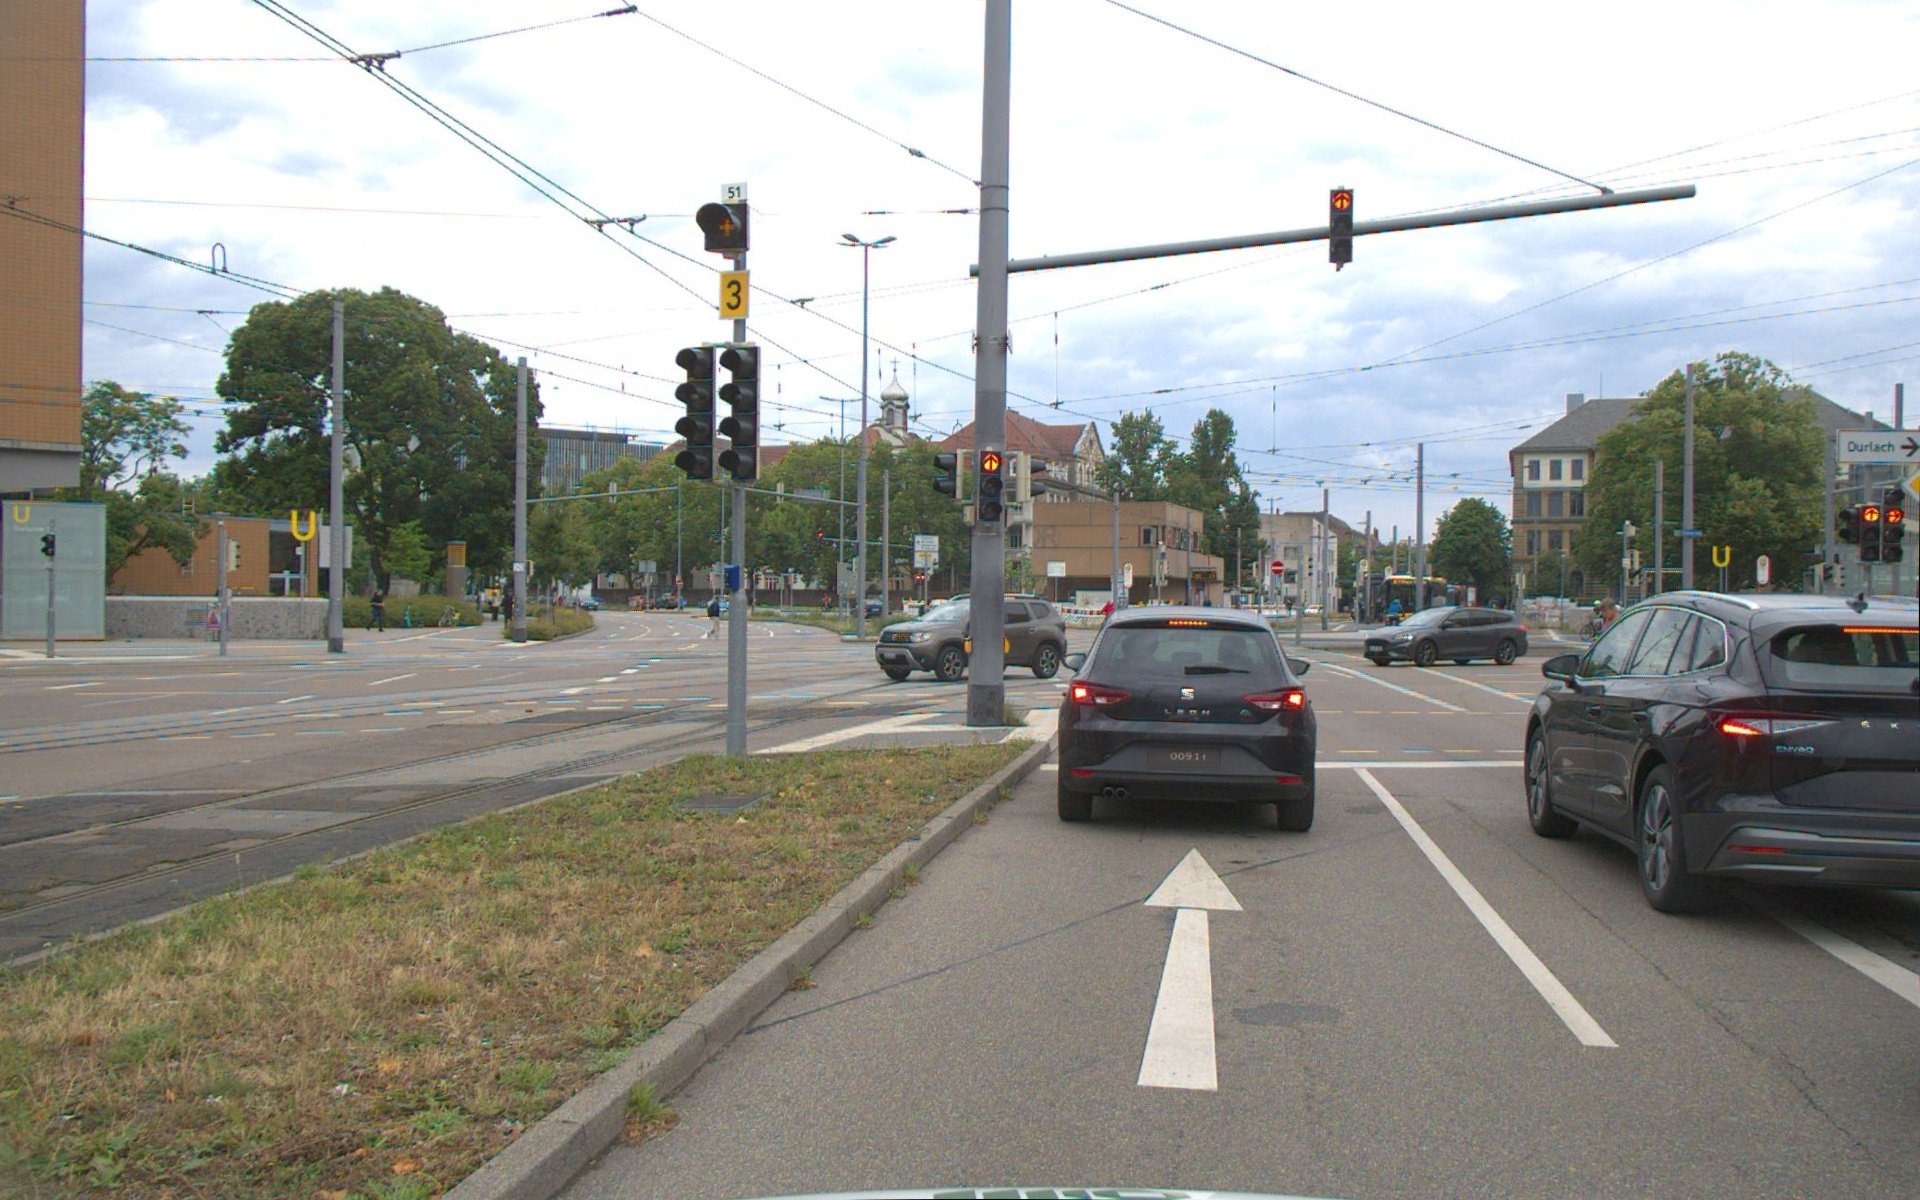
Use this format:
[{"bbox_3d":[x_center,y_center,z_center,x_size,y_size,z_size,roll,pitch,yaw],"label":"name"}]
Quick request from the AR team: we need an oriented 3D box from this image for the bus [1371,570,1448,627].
[{"bbox_3d":[26.489,-0.074,97.041,2.900,3.178,11.536,0,0,22],"label":"bus"}]

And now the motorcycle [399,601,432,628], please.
[{"bbox_3d":[-26.215,0.715,79.645,1.457,1.290,0.505,1,0,-38],"label":"motorcycle"}]

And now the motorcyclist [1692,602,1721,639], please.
[{"bbox_3d":[33.425,0.916,74.024,0.965,1.678,0.744,0,-1,-25],"label":"motorcyclist"}]

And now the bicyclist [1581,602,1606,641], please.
[{"bbox_3d":[28.421,0.962,74.240,0.838,1.702,0.652,0,0,-11],"label":"bicyclist"}]

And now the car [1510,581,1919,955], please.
[{"bbox_3d":[4.509,0.738,9.477,1.739,1.625,4.513,1,0,7],"label":"car"}]

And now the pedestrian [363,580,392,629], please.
[{"bbox_3d":[-24.632,0.192,69.976,1.002,2.049,0.844,0,0,-11],"label":"pedestrian"}]

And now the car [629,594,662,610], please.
[{"bbox_3d":[-32.093,0.182,168.766,1.763,1.489,3.947,1,1,-37],"label":"car"}]

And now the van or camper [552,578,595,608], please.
[{"bbox_3d":[-41.657,-0.771,178.071,2.373,3.179,5.424,1,0,-40],"label":"van or camper"}]

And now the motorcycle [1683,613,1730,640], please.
[{"bbox_3d":[33.384,1.182,73.988,2.107,1.159,0.738,0,0,-25],"label":"motorcycle"}]

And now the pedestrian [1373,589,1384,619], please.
[{"bbox_3d":[27.333,0.285,108.039,0.608,1.951,0.699,0,0,18],"label":"pedestrian"}]

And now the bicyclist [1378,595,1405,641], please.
[{"bbox_3d":[17.816,0.736,68.294,0.853,1.884,1.048,0,0,3],"label":"bicyclist"}]

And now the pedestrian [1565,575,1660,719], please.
[{"bbox_3d":[9.057,0.640,22.965,1.091,1.940,0.727,1,-1,-34],"label":"pedestrian"}]

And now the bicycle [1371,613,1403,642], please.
[{"bbox_3d":[17.638,1.120,68.374,0.847,1.124,2.303,1,0,4],"label":"bicycle"}]

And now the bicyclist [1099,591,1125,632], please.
[{"bbox_3d":[6.637,0.495,72.250,0.867,1.762,0.891,1,0,-13],"label":"bicyclist"}]

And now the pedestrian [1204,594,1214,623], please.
[{"bbox_3d":[16.966,0.558,112.667,0.608,1.951,0.711,0,0,11],"label":"pedestrian"}]

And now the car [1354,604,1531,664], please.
[{"bbox_3d":[12.167,0.835,41.654,4.326,1.420,1.684,0,0,-27],"label":"car"}]

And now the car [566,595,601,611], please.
[{"bbox_3d":[-35.730,0.277,156.909,1.764,1.489,3.945,1,0,-38],"label":"car"}]

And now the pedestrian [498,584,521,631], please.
[{"bbox_3d":[-19.958,0.331,73.272,0.912,2.049,1.009,1,-1,-12],"label":"pedestrian"}]

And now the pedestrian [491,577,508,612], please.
[{"bbox_3d":[-27.379,-0.314,98.304,0.784,2.016,0.873,1,-2,-26],"label":"pedestrian"}]

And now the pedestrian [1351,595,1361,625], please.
[{"bbox_3d":[25.828,0.666,107.829,0.608,1.951,0.699,0,0,18],"label":"pedestrian"}]

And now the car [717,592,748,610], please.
[{"bbox_3d":[-20.545,0.066,149.293,1.753,1.489,3.970,1,1,-24],"label":"car"}]

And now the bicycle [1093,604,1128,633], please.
[{"bbox_3d":[6.584,0.799,72.431,0.876,1.199,2.294,1,0,-13],"label":"bicycle"}]

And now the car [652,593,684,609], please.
[{"bbox_3d":[-28.709,0.068,162.541,1.759,1.489,3.956,1,1,-32],"label":"car"}]

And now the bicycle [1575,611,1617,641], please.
[{"bbox_3d":[28.541,1.161,74.260,1.699,1.345,0.643,0,0,-12],"label":"bicycle"}]

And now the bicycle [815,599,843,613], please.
[{"bbox_3d":[-11.562,0.508,145.863,0.924,1.199,2.718,0,0,36],"label":"bicycle"}]

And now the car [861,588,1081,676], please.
[{"bbox_3d":[0.255,0.618,33.194,4.180,1.668,1.782,1,0,-35],"label":"car"}]

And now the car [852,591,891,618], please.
[{"bbox_3d":[-5.902,0.347,110.404,1.959,1.713,3.986,1,-1,-13],"label":"car"}]

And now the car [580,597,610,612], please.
[{"bbox_3d":[-40.078,0.493,181.576,1.761,1.489,3.950,1,0,-35],"label":"car"}]

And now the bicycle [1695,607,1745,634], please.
[{"bbox_3d":[38.568,1.048,83.916,2.214,1.354,0.707,0,-1,16],"label":"bicycle"}]

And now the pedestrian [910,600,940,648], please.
[{"bbox_3d":[-1.451,0.996,68.774,1.022,1.968,0.690,0,0,-43],"label":"pedestrian"}]

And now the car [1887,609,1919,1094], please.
[{"bbox_3d":[3.589,0.776,3.080,1.741,1.514,4.469,0,0,8],"label":"car"}]

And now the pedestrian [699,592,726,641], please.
[{"bbox_3d":[-10.069,0.655,67.279,1.011,1.968,0.698,0,0,-17],"label":"pedestrian"}]

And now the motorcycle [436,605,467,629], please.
[{"bbox_3d":[-25.013,0.834,81.418,0.499,1.131,1.744,0,0,21],"label":"motorcycle"}]

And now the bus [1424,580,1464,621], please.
[{"bbox_3d":[40.627,0.035,138.673,2.599,3.340,10.997,0,0,19],"label":"bus"}]

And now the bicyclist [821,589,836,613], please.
[{"bbox_3d":[-11.607,0.082,145.830,0.922,2.049,0.974,0,0,37],"label":"bicyclist"}]

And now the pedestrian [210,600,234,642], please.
[{"bbox_3d":[-24.187,0.680,54.216,0.569,1.359,0.491,1,0,-42],"label":"pedestrian"}]

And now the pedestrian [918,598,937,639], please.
[{"bbox_3d":[-1.249,0.721,64.372,0.713,1.569,0.417,1,0,-4],"label":"pedestrian"}]

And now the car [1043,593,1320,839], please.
[{"bbox_3d":[1.493,0.705,12.044,1.668,1.474,3.814,1,0,4],"label":"car"}]

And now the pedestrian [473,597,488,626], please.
[{"bbox_3d":[-33.290,0.789,114.820,0.862,2.016,0.794,1,-2,-10],"label":"pedestrian"}]
